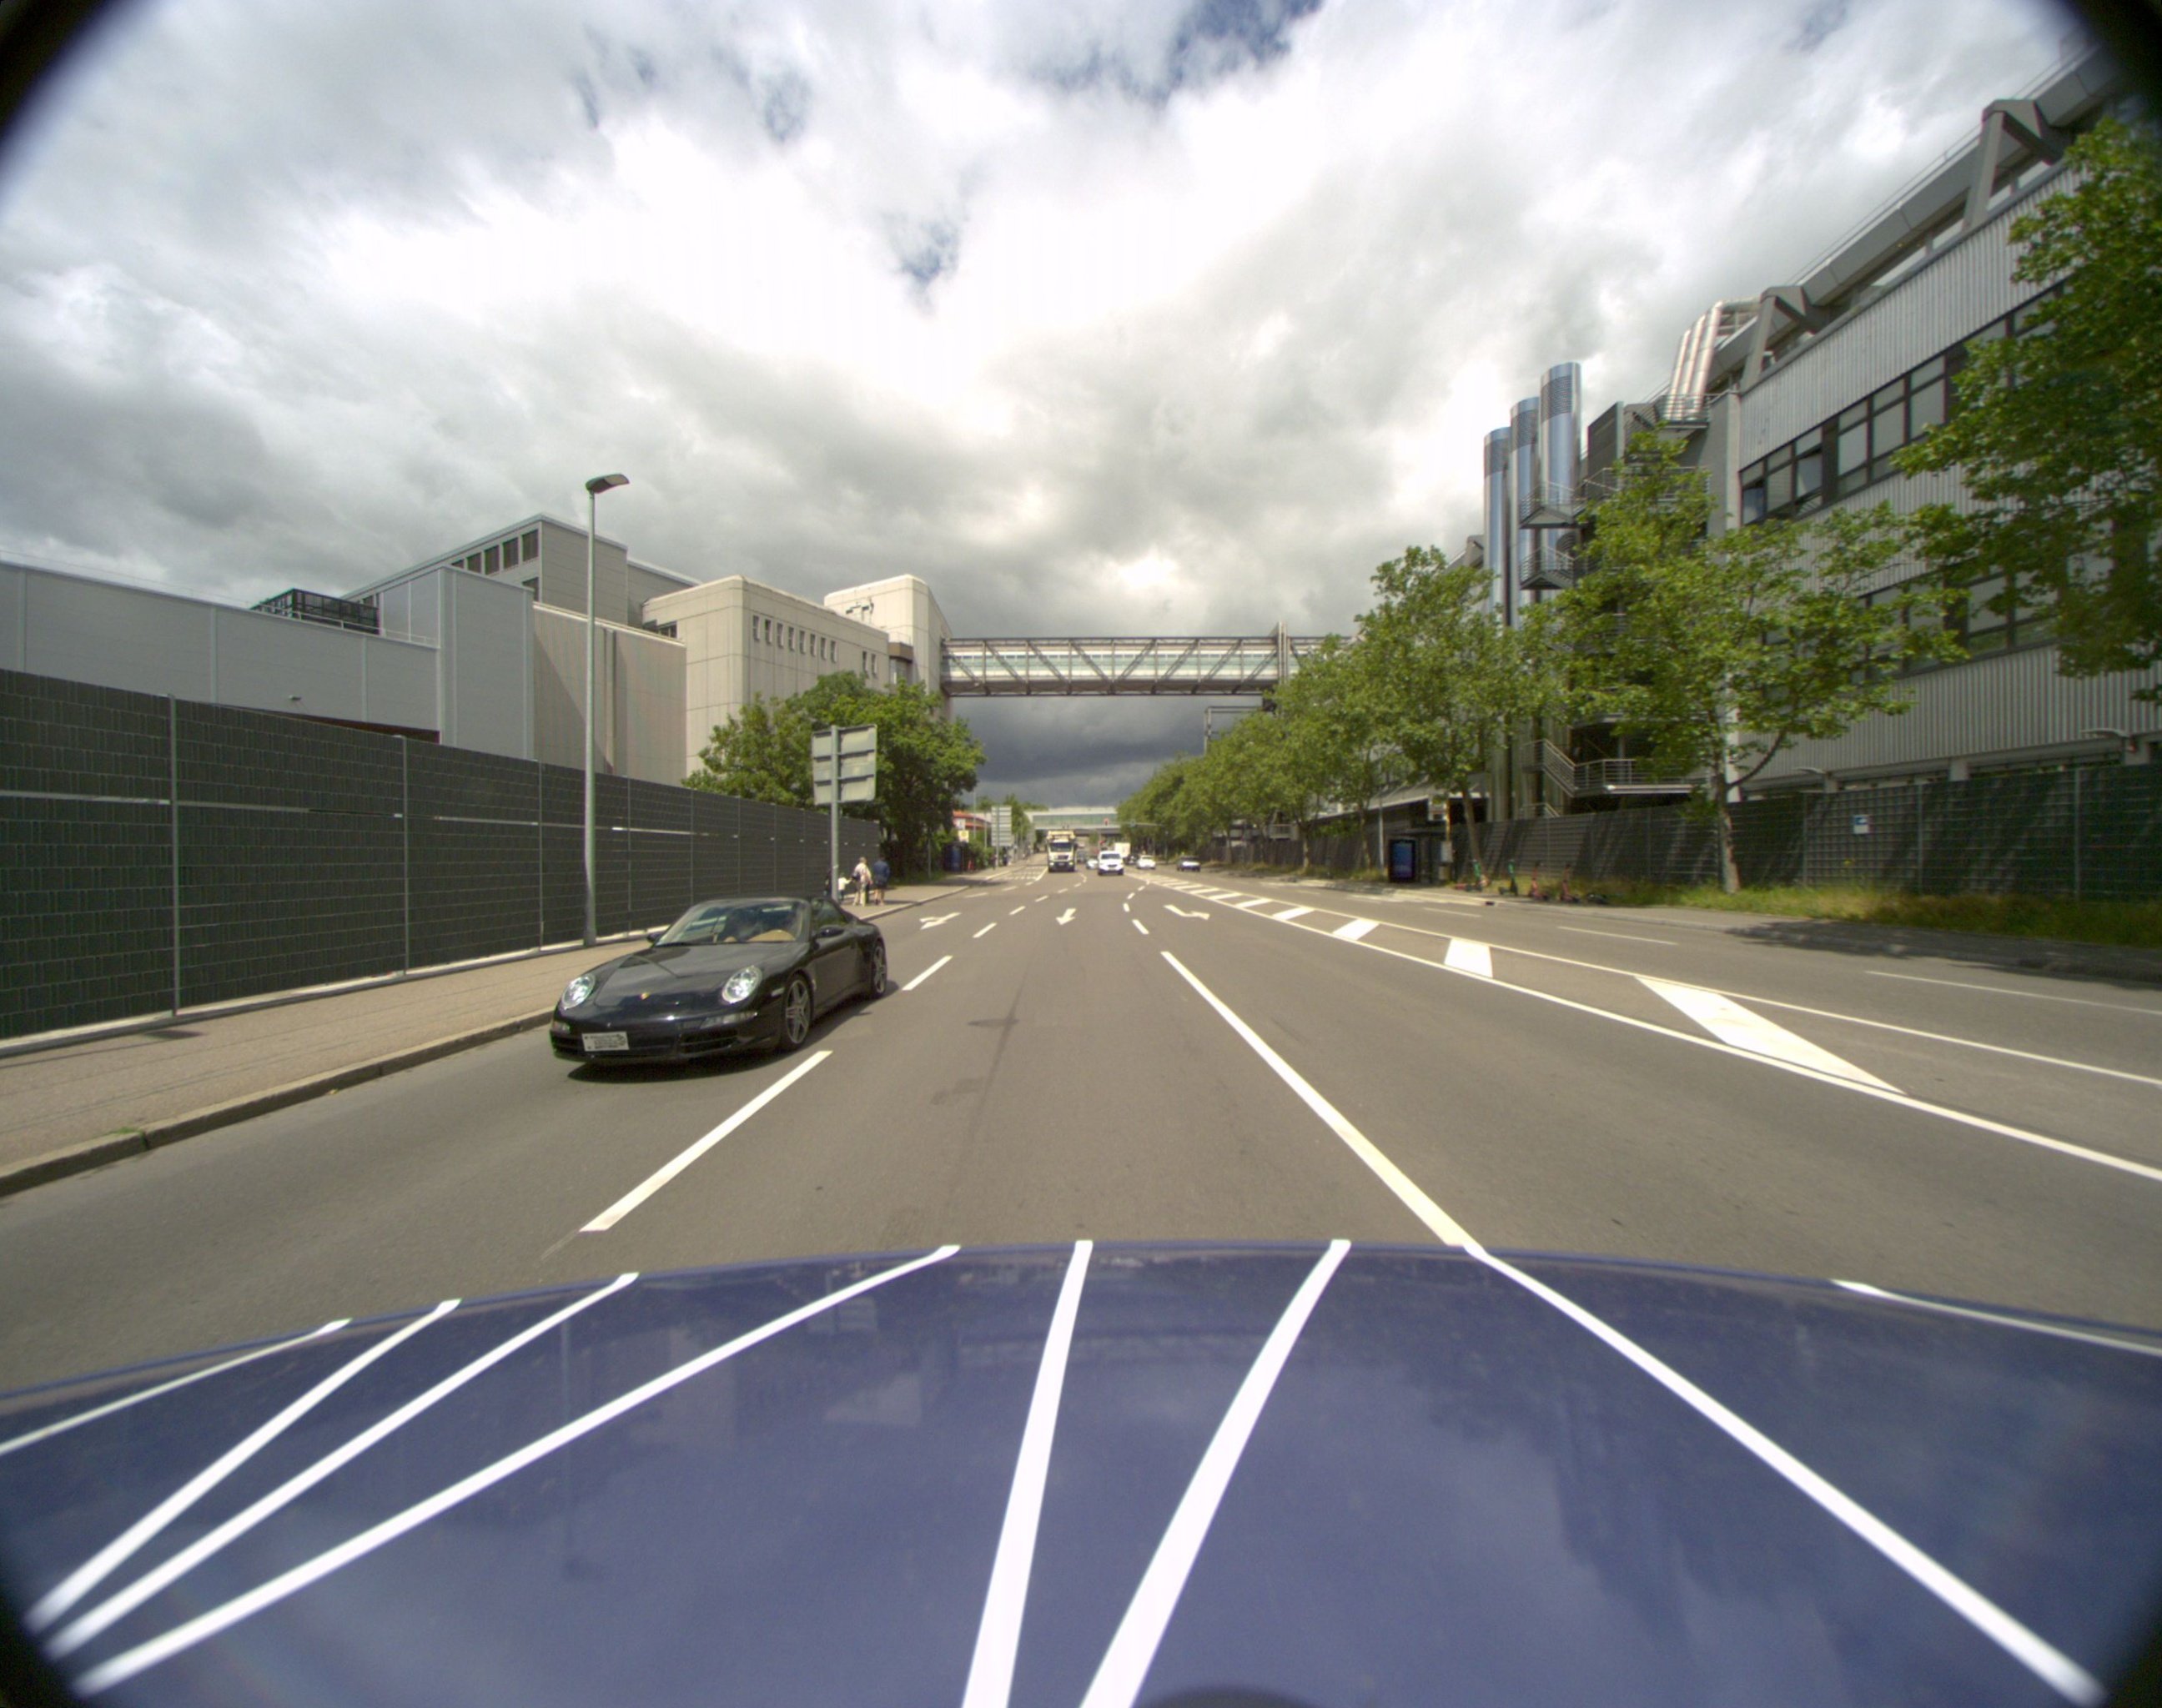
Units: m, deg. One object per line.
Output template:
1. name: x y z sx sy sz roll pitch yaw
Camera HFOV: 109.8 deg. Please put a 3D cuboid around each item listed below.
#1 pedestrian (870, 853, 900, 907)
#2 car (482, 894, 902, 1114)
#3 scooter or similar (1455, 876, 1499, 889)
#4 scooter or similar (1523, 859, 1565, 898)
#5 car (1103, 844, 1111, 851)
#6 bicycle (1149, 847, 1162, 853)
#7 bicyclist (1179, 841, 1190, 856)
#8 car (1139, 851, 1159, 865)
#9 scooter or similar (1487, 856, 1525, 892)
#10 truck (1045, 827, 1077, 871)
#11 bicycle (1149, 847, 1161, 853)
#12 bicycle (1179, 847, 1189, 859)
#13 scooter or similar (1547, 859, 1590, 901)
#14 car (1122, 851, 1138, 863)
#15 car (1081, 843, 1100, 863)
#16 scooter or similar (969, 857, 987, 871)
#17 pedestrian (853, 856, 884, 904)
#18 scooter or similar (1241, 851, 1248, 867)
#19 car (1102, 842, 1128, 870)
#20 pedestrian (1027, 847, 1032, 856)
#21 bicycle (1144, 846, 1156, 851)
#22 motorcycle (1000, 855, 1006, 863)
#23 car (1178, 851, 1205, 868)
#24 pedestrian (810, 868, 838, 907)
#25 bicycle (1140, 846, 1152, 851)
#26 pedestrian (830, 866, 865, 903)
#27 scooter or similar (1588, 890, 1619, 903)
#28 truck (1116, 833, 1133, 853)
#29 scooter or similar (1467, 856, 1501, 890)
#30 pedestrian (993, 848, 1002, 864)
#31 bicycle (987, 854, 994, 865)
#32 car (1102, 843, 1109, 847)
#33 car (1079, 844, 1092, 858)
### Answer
1. pedestrian: -6.468 0.846 25.127 0.797 1.711 0.731 -2 2 -4
2. car: -3.224 1.165 7.355 1.838 1.317 4.001 -3 -1 2
3. scooter or similar: 15.719 1.128 30.139 1.361 0.378 1.493 -4 0 35
4. scooter or similar: 15.145 0.786 24.906 0.524 1.227 1.318 -4 0 1
5. car: 5.965 -1.519 174.664 1.562 1.496 3.612 1 1 0
6. bicycle: 15.558 -0.864 158.641 2.561 1.079 0.616 -2 1 7
7. bicyclist: 11.712 -0.617 85.934 0.958 1.589 1.222 1 1 -4
8. car: 7.172 0.395 80.141 1.696 1.407 4.145 1 0 -1
9. scooter or similar: 15.156 0.710 27.113 0.524 1.227 1.317 -4 0 -1
10. truck: -1.867 -0.568 73.102 2.713 3.863 10.738 -2 1 -1
11. bicycle: 15.326 -0.855 157.596 2.561 1.079 0.616 -2 1 5
12. bicycle: 11.686 -0.135 86.180 0.738 1.227 2.473 1 1 -2
13. scooter or similar: 15.088 0.781 23.525 0.524 1.227 1.318 -4 0 6
14. car: 6.452 0.387 99.909 1.744 1.572 4.266 2 1 0
15. car: 1.033 -0.154 81.119 1.872 1.944 4.710 -2 2 0
16. scooter or similar: -8.550 0.796 62.978 0.541 1.156 1.795 1 1 27
17. pedestrian: -7.228 0.885 25.902 0.797 1.588 0.731 -2 2 -1
18. scooter or similar: 14.428 0.414 67.231 0.304 1.395 1.235 -2 1 -1
19. car: 2.483 0.211 57.081 1.824 2.001 4.392 -1 -1 1
20. pedestrian: -9.573 -0.493 141.249 0.729 1.756 1.015 -2 1 -1
21. bicycle: 15.110 -1.191 166.532 2.413 1.079 0.615 -2 1 -2
22. motorcycle: -9.626 0.612 93.701 0.592 1.061 2.036 1 1 -1
23. car: 10.678 0.509 73.643 1.883 1.497 4.190 1 0 -1
24. pedestrian: -8.345 1.069 24.665 0.598 1.200 0.716 -2 1 2
25. bicycle: 14.649 -1.258 170.367 2.562 1.171 0.615 -2 1 0
26. pedestrian: -7.617 0.982 24.838 0.759 1.142 0.971 -2 1 3
27. scooter or similar: 15.618 1.264 22.734 0.538 0.321 1.274 -1 0 24
28. truck: 6.894 -1.742 121.019 2.458 3.111 7.242 -2 1 1
29. scooter or similar: 15.175 0.718 28.640 0.524 1.227 1.317 -4 0 -1
30. pedestrian: -8.682 0.196 78.708 0.811 1.635 0.997 1 1 -2
31. bicycle: -9.906 0.617 83.011 0.444 1.173 2.468 -2 1 -1
32. car: 8.123 -2.939 249.371 1.997 1.446 4.770 1 1 6
33. car: 0.622 -0.450 116.195 1.872 1.944 4.710 -2 2 0
